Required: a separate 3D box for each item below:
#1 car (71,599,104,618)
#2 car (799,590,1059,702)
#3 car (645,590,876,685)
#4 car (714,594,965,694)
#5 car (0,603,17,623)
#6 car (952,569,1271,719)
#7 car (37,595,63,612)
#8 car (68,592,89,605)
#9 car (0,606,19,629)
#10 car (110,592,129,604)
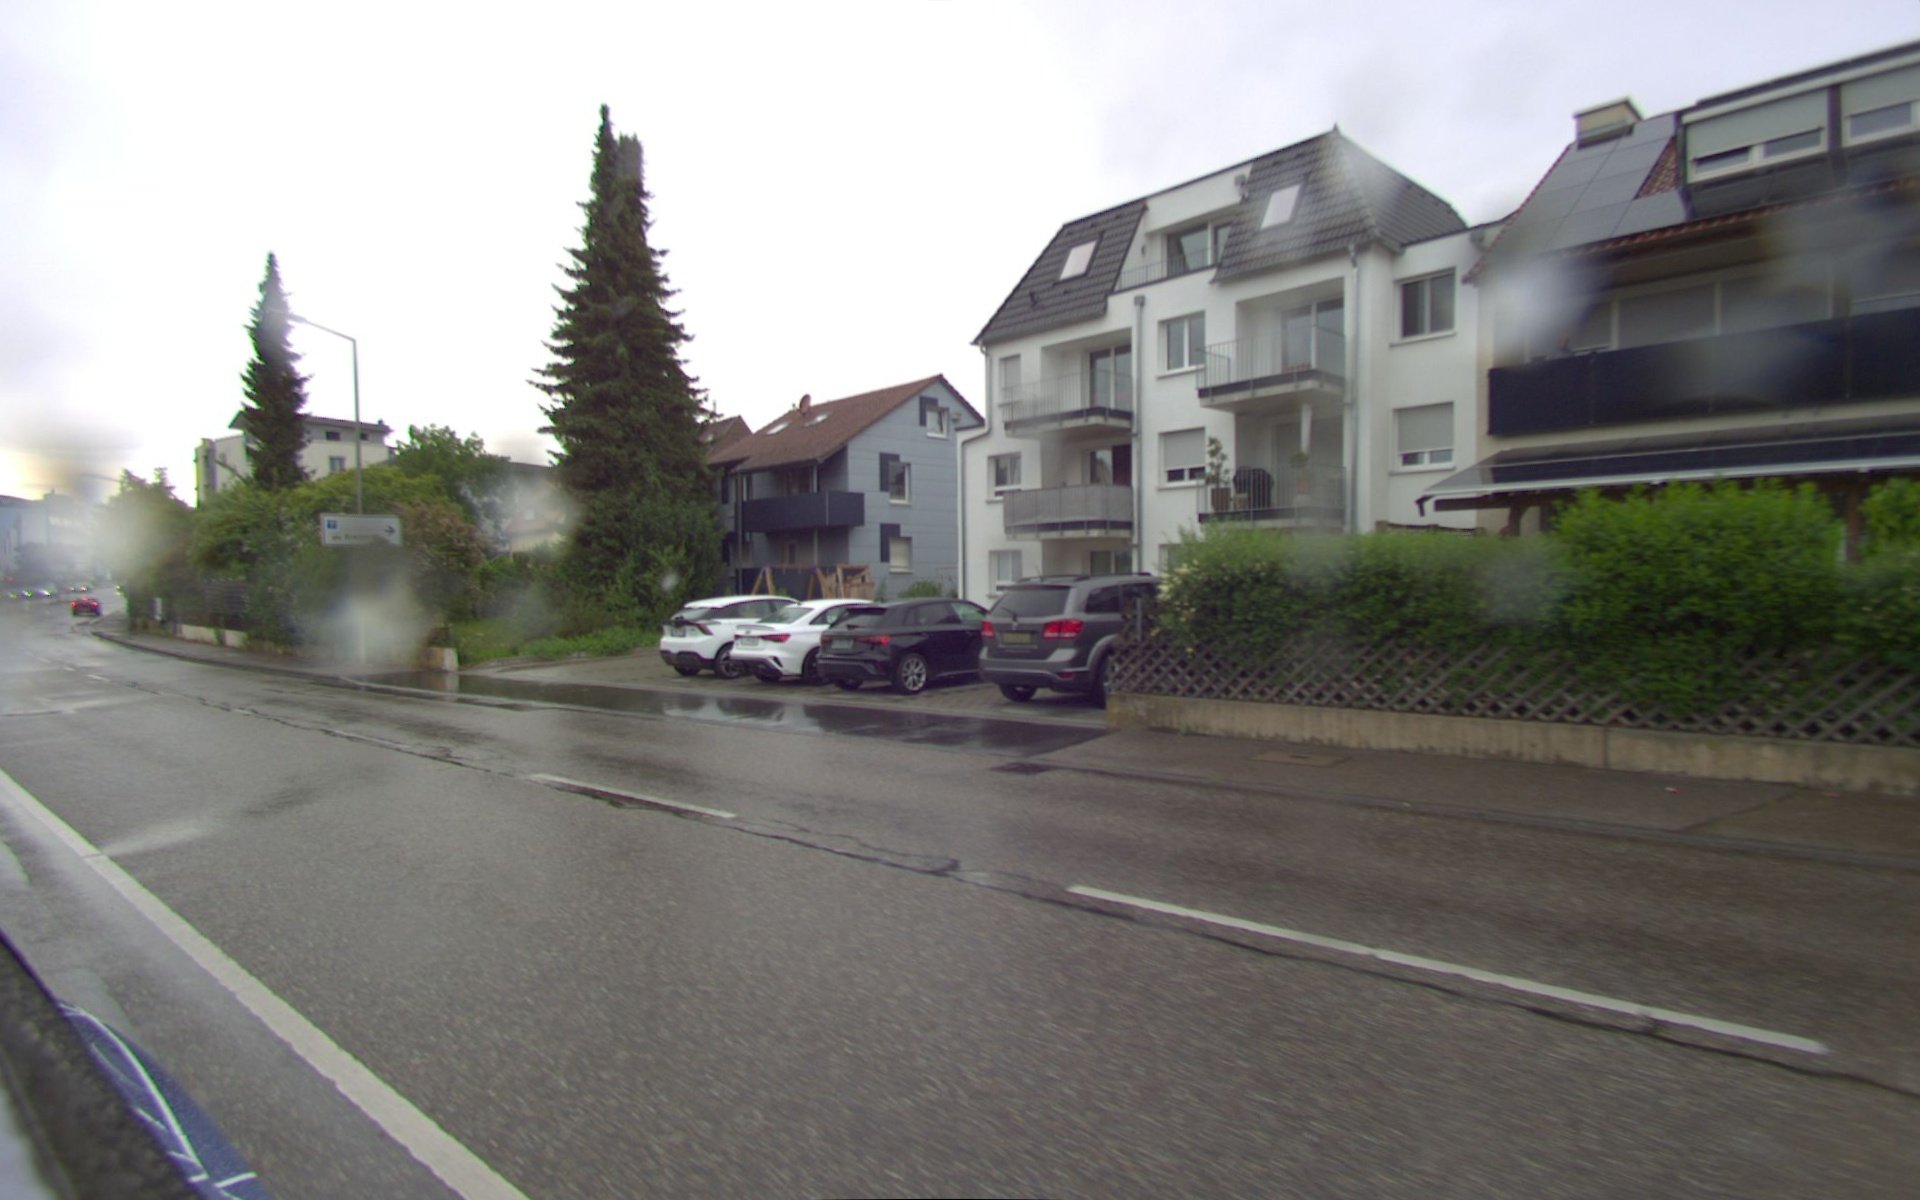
[{"bbox_3d":[-75.245,0.753,87.356,1.968,1.627,4.008,-1,0,-38],"label":"car"},{"bbox_3d":[-0.408,0.647,16.324,3.979,1.453,1.814,-3,1,-44],"label":"car"},{"bbox_3d":[-3.905,0.670,20.194,4.058,1.557,2.002,-3,1,-44],"label":"car"},{"bbox_3d":[-2.082,0.697,18.142,4.097,1.453,1.892,-3,1,-42],"label":"car"},{"bbox_3d":[-85.934,1.205,90.831,1.826,1.777,4.125,-1,0,-44],"label":"car"},{"bbox_3d":[2.220,0.482,14.032,4.404,1.673,2.003,-3,1,-42],"label":"car"},{"bbox_3d":[-99.633,0.393,110.830,1.824,1.777,4.129,-1,0,-39],"label":"car"},{"bbox_3d":[-127.077,-0.226,145.883,1.823,1.777,4.131,-1,0,-35],"label":"car"},{"bbox_3d":[-81.099,1.464,85.762,1.826,1.895,4.124,-1,0,-44],"label":"car"},{"bbox_3d":[-128.767,-0.356,155.049,1.823,1.777,4.131,-1,0,-35],"label":"car"}]
